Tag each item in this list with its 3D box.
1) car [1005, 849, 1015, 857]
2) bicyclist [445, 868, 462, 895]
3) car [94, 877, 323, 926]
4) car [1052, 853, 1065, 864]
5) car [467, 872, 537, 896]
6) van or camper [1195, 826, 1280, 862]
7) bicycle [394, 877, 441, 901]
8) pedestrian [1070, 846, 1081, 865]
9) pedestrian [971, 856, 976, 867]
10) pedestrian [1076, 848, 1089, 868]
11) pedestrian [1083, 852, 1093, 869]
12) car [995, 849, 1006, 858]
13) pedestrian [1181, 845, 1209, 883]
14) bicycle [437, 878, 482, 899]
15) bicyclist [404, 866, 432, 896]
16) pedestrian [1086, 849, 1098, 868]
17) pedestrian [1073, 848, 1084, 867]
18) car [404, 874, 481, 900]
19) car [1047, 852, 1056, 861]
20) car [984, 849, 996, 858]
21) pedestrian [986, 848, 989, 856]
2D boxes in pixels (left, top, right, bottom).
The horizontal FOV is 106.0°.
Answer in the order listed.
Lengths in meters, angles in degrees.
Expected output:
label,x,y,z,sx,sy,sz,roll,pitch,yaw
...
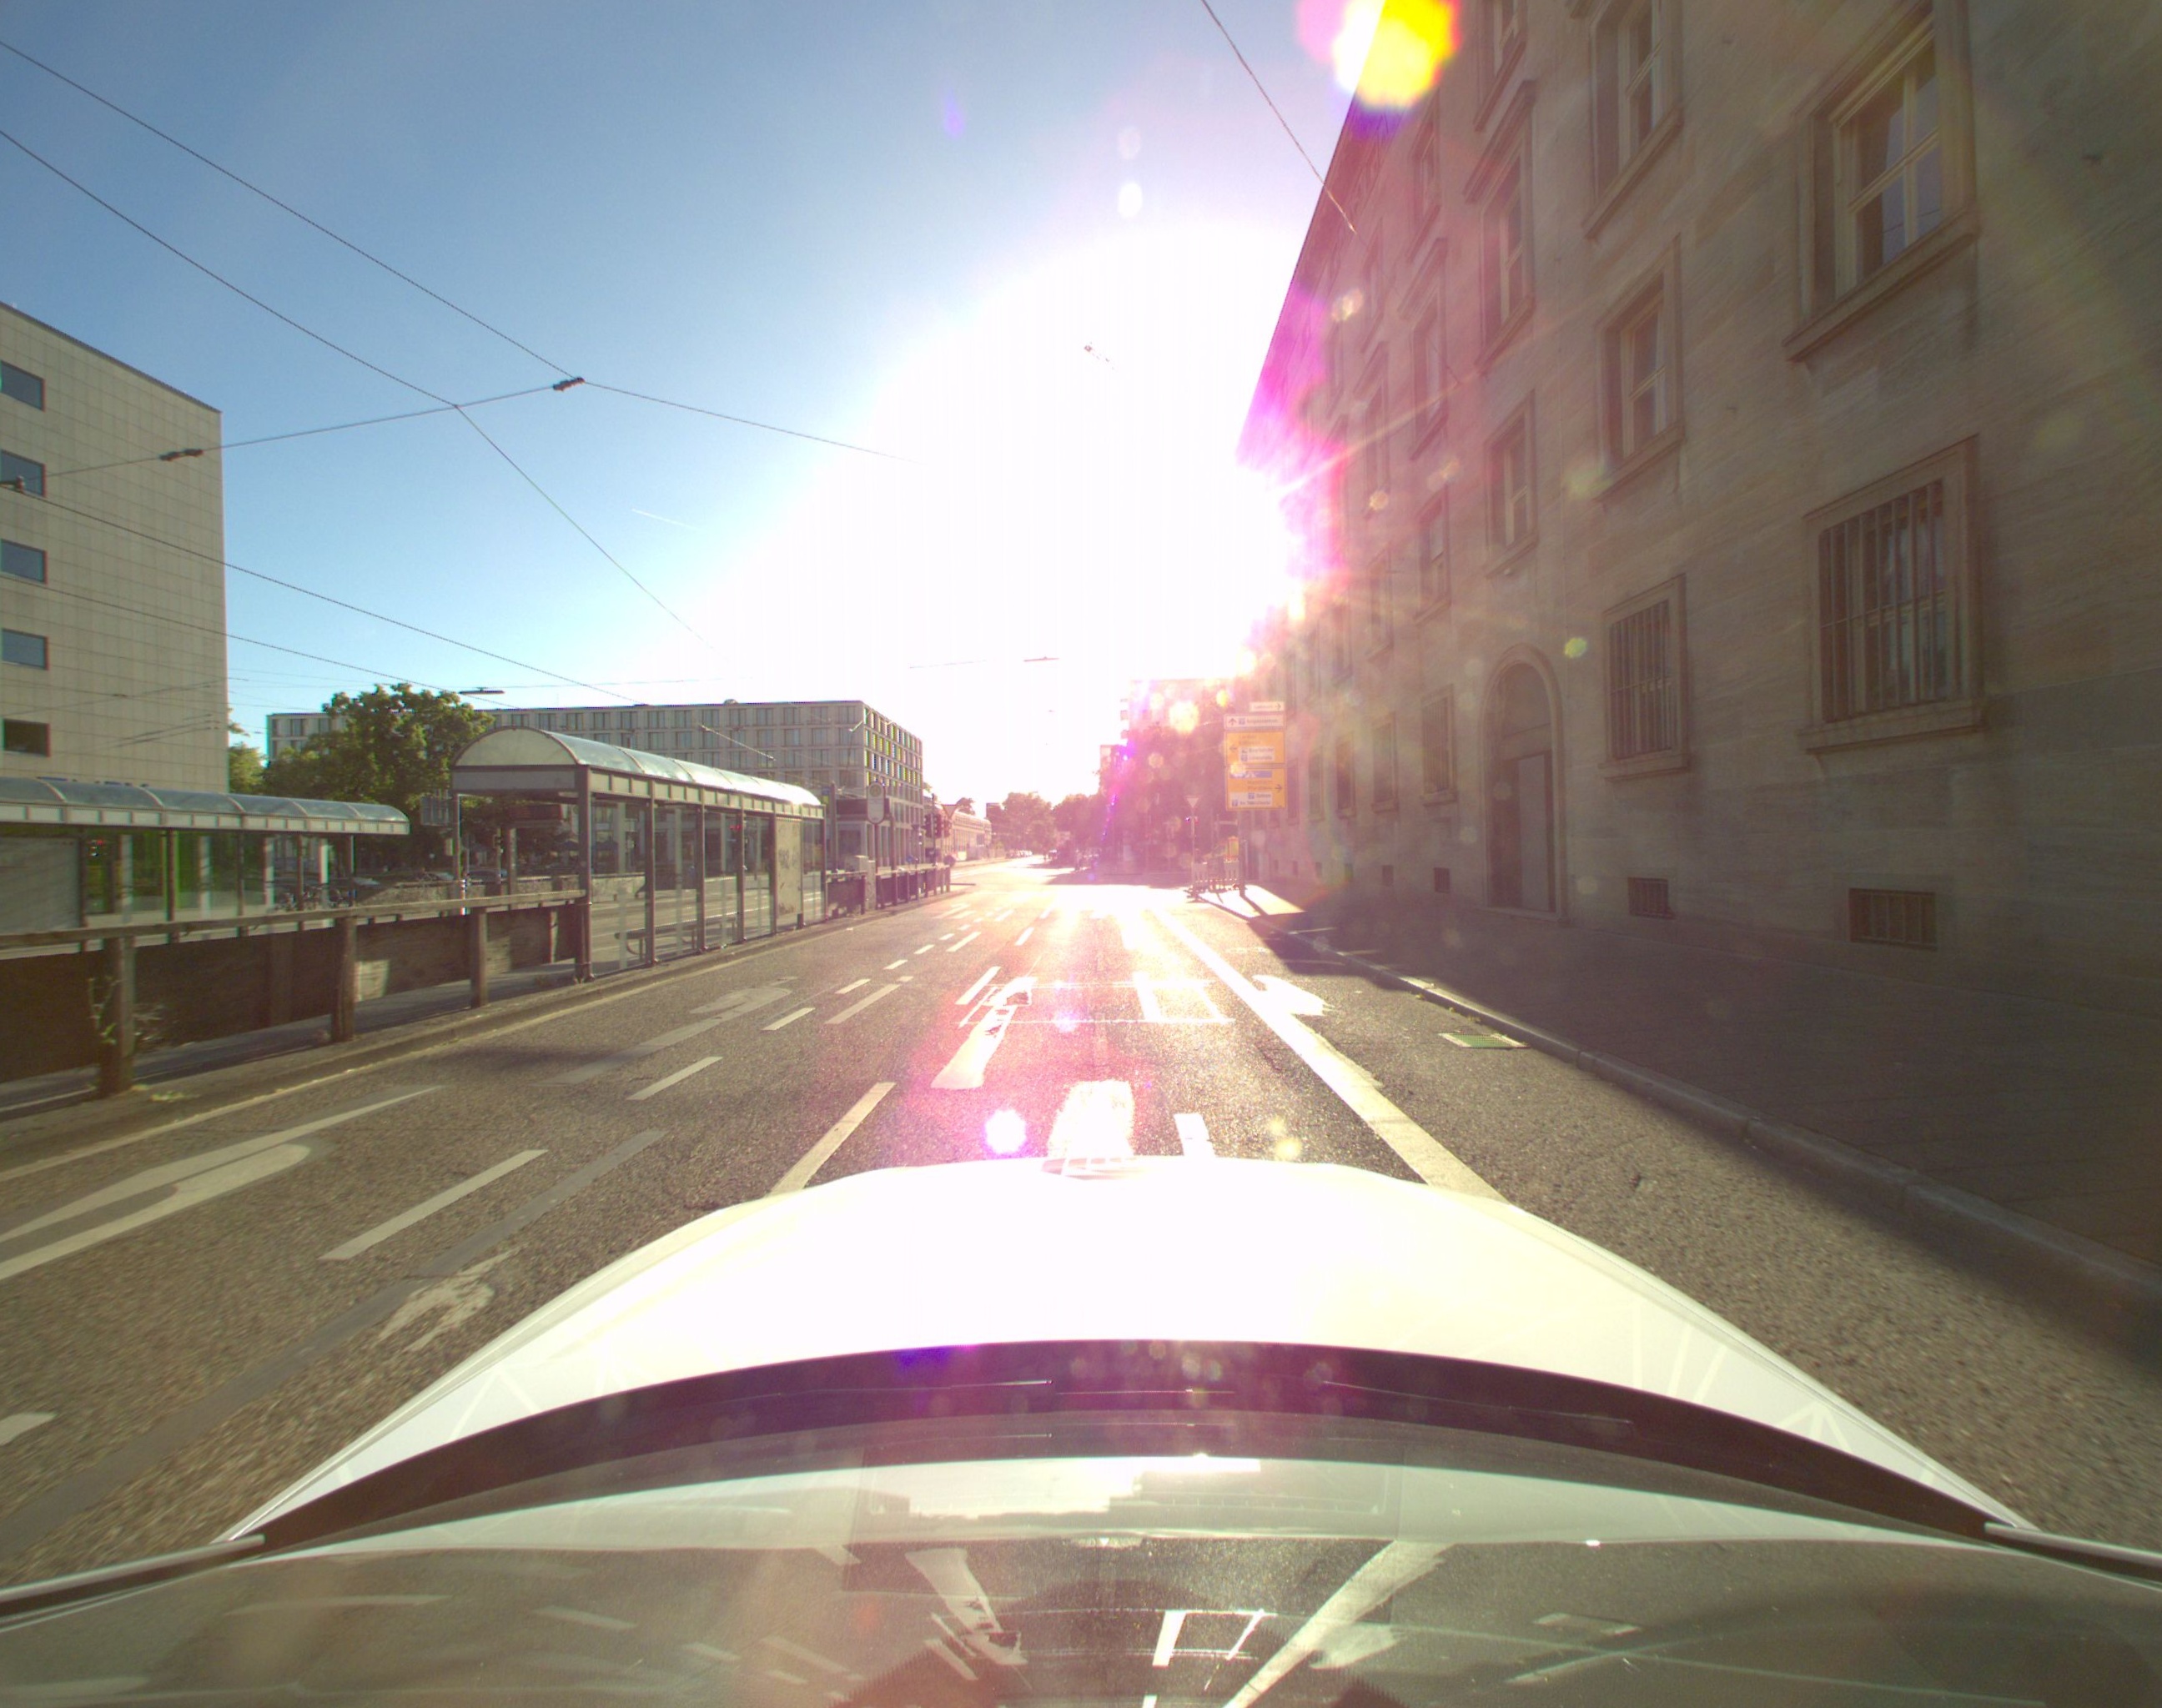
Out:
label,x,y,z,sx,sy,sz,roll,pitch,yaw
car,-16.176,-0.198,185.689,1.813,1.712,3.806,-2,0,1
bicyclist,-36.596,1.596,47.517,0.620,1.582,0.590,-2,0,-20
car,-26.733,1.405,25.192,4.530,1.350,1.574,0,-1,-32
car,-3.077,0.593,112.208,1.678,1.501,3.509,0,-1,1
car,-38.523,1.978,54.247,3.520,1.506,1.522,-1,0,-1
van or camper,12.874,-0.812,67.473,6.675,2.861,2.915,0,-1,5
bicycle,-38.632,2.034,47.410,2.037,1.288,0.888,-2,0,6
pedestrian,-0.533,0.165,76.750,0.849,1.784,0.776,-2,0,-15
pedestrian,-13.067,0.875,99.319,0.509,1.329,0.369,-1,0,2
pedestrian,0.150,0.333,74.320,0.967,1.784,0.776,-2,0,-15
pedestrian,0.670,0.598,76.252,0.763,1.558,0.585,-2,0,-15
car,-17.259,-0.114,173.995,1.813,1.712,3.806,-2,0,1
pedestrian,5.367,0.460,38.355,1.039,1.721,1.031,-2,0,-10
bicycle,-36.349,2.034,47.649,1.929,1.122,0.785,-2,0,-20
bicyclist,-38.561,1.587,47.370,0.885,1.694,0.846,-2,0,6
pedestrian,1.016,0.429,75.522,0.849,1.784,0.776,-2,0,-15
pedestrian,-0.259,0.342,75.955,0.849,1.784,0.776,-2,0,-15
car,-39.517,2.008,50.430,3.520,1.506,1.522,-1,0,-1
car,-6.262,0.541,174.253,1.678,1.737,3.509,0,-1,1
car,-18.188,-0.100,163.066,1.813,1.712,3.806,-2,0,1
pedestrian,-16.815,-0.325,146.613,0.522,1.484,0.437,0,-1,0
